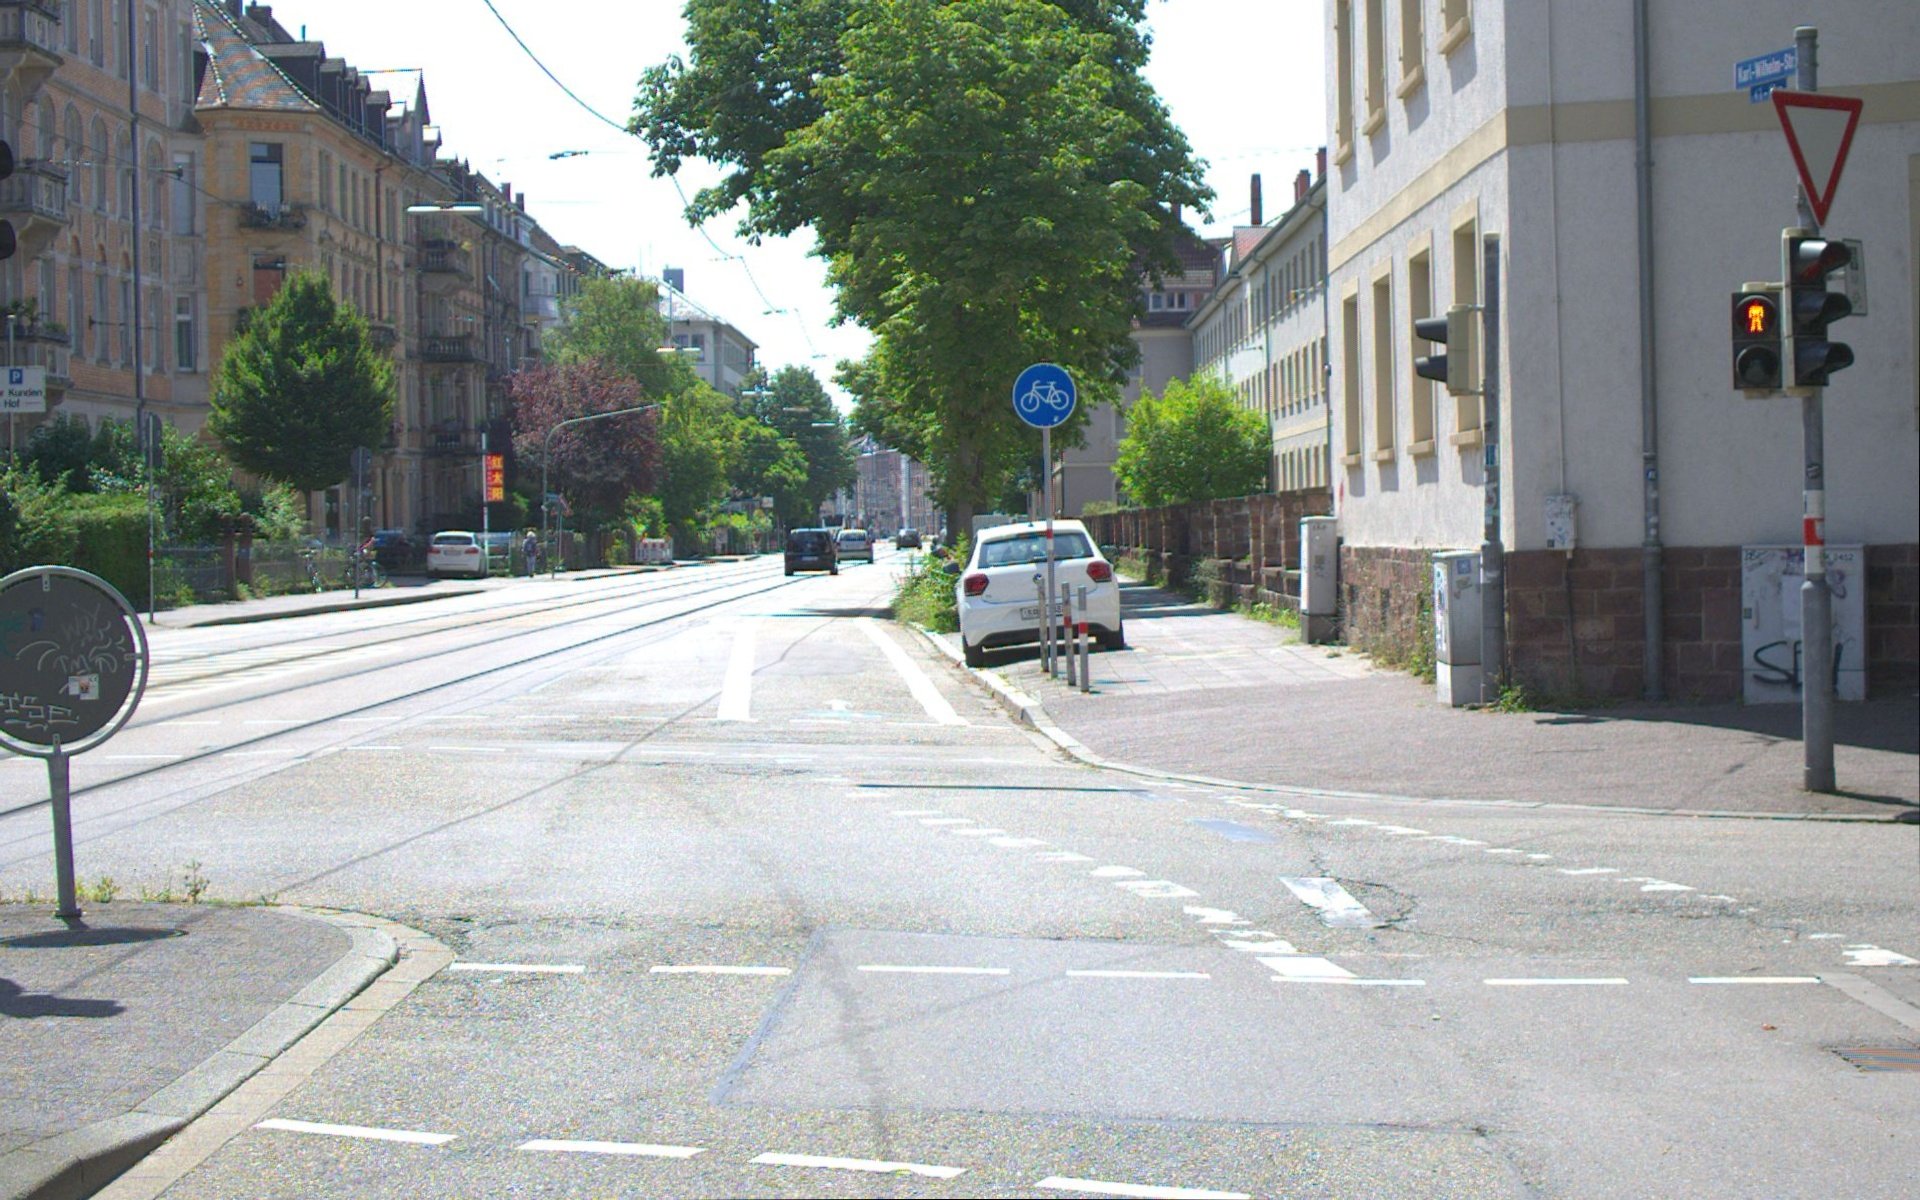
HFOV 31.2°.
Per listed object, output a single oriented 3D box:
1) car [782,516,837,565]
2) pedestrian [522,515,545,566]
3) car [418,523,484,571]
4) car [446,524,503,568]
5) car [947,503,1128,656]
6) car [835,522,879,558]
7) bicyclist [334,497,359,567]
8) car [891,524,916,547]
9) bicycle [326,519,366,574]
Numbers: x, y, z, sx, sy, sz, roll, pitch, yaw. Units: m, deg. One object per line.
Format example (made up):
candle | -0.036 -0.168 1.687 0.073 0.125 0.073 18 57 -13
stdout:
car | -4.751 -1.886 109.067 1.525 1.439 3.365 -2 1 0
pedestrian | -14.525 -2.021 117.032 0.678 1.721 0.677 0 1 -1
car | -17.139 -1.779 115.885 1.684 1.467 3.939 -4 1 -2
car | -17.547 -1.938 124.401 1.628 1.467 3.564 -4 1 -2
car | 0.803 -0.244 37.656 1.747 1.467 3.938 -4 1 -1
car | -4.489 -2.618 150.281 1.747 1.467 3.938 -4 1 -1
bicyclist | -15.592 -1.726 87.324 0.542 1.757 0.498 0 1 -1
car | -4.016 -4.586 243.759 1.628 1.467 3.564 -4 1 -2
bicycle | -15.583 -1.353 87.306 0.577 1.383 2.501 0 1 -1
